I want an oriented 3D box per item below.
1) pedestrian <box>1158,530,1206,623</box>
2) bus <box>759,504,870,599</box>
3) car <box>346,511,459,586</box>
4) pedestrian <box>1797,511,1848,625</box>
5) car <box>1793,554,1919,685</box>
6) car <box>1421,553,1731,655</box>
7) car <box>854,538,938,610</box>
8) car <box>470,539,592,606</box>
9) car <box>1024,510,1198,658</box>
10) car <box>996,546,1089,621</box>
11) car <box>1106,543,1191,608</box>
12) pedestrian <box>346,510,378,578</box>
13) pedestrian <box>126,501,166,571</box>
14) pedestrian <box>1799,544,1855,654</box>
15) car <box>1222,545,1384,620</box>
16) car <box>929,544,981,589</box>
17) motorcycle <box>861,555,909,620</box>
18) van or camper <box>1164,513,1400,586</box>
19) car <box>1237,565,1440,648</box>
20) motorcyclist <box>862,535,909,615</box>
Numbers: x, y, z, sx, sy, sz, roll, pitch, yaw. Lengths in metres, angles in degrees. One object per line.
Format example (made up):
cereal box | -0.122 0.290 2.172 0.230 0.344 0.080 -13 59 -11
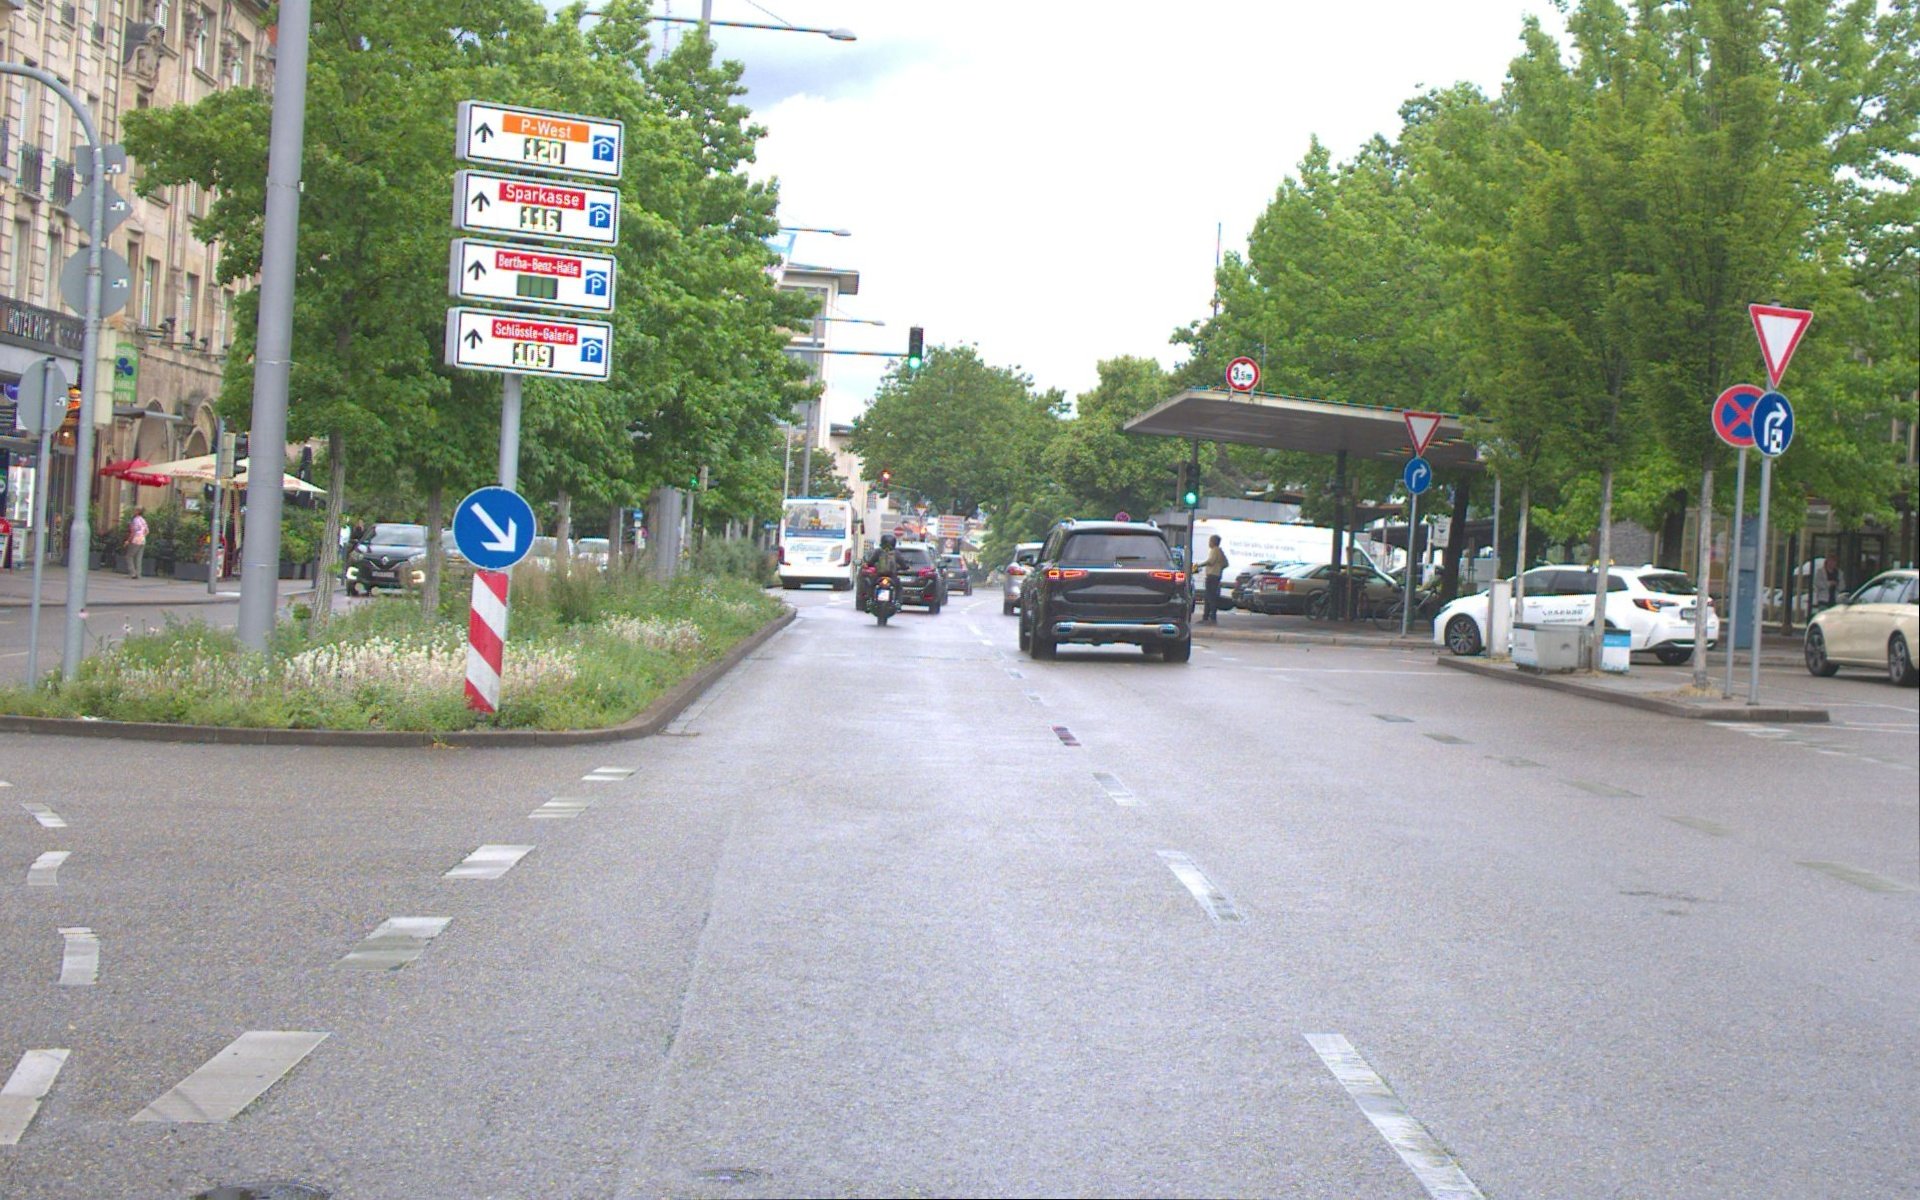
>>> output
pedestrian | 4.310 -0.459 66.740 0.717 1.785 0.666 1 1 -12
bus | -5.433 -1.815 127.183 3.760 3.198 15.528 1 1 -3
car | -11.923 -1.106 73.735 1.771 1.525 4.079 1 1 -1
pedestrian | 18.458 -0.685 73.592 0.843 2.403 0.862 1 1 1
car | 12.601 0.233 44.295 1.993 1.594 4.824 1 1 -7
car | 9.109 0.040 51.072 1.774 1.380 4.366 0 1 -41
car | -1.346 -0.575 73.031 1.708 1.443 4.000 1 1 -1
car | -9.138 -0.611 73.563 1.724 1.377 4.859 1 1 3
car | 1.925 -0.246 45.157 1.993 1.800 4.690 1 1 -1
car | 1.776 -0.385 75.128 1.851 1.562 4.000 1 1 -1
car | 4.651 -0.624 85.395 1.816 1.525 4.000 1 1 -1
pedestrian | -15.042 -1.402 86.471 0.674 1.696 0.634 1 1 -1
pedestrian | -17.666 -1.387 74.599 0.661 1.505 0.519 1 1 -38
pedestrian | 16.087 -0.028 63.811 0.769 2.007 0.828 1 1 -2
car | 9.639 -0.497 96.645 3.986 2.007 2.001 1 1 -20
car | -0.186 -1.137 116.913 1.708 1.469 4.000 1 1 -1
motorcycle | -1.270 -0.221 58.641 0.766 1.073 2.175 2 1 0
van or camper | 9.646 -1.497 102.851 6.753 2.007 2.385 1 0 -26
car | 9.053 0.153 82.276 4.335 1.851 2.001 1 1 -20
motorcyclist | -1.270 -0.427 58.678 0.764 1.327 0.866 2 1 0
